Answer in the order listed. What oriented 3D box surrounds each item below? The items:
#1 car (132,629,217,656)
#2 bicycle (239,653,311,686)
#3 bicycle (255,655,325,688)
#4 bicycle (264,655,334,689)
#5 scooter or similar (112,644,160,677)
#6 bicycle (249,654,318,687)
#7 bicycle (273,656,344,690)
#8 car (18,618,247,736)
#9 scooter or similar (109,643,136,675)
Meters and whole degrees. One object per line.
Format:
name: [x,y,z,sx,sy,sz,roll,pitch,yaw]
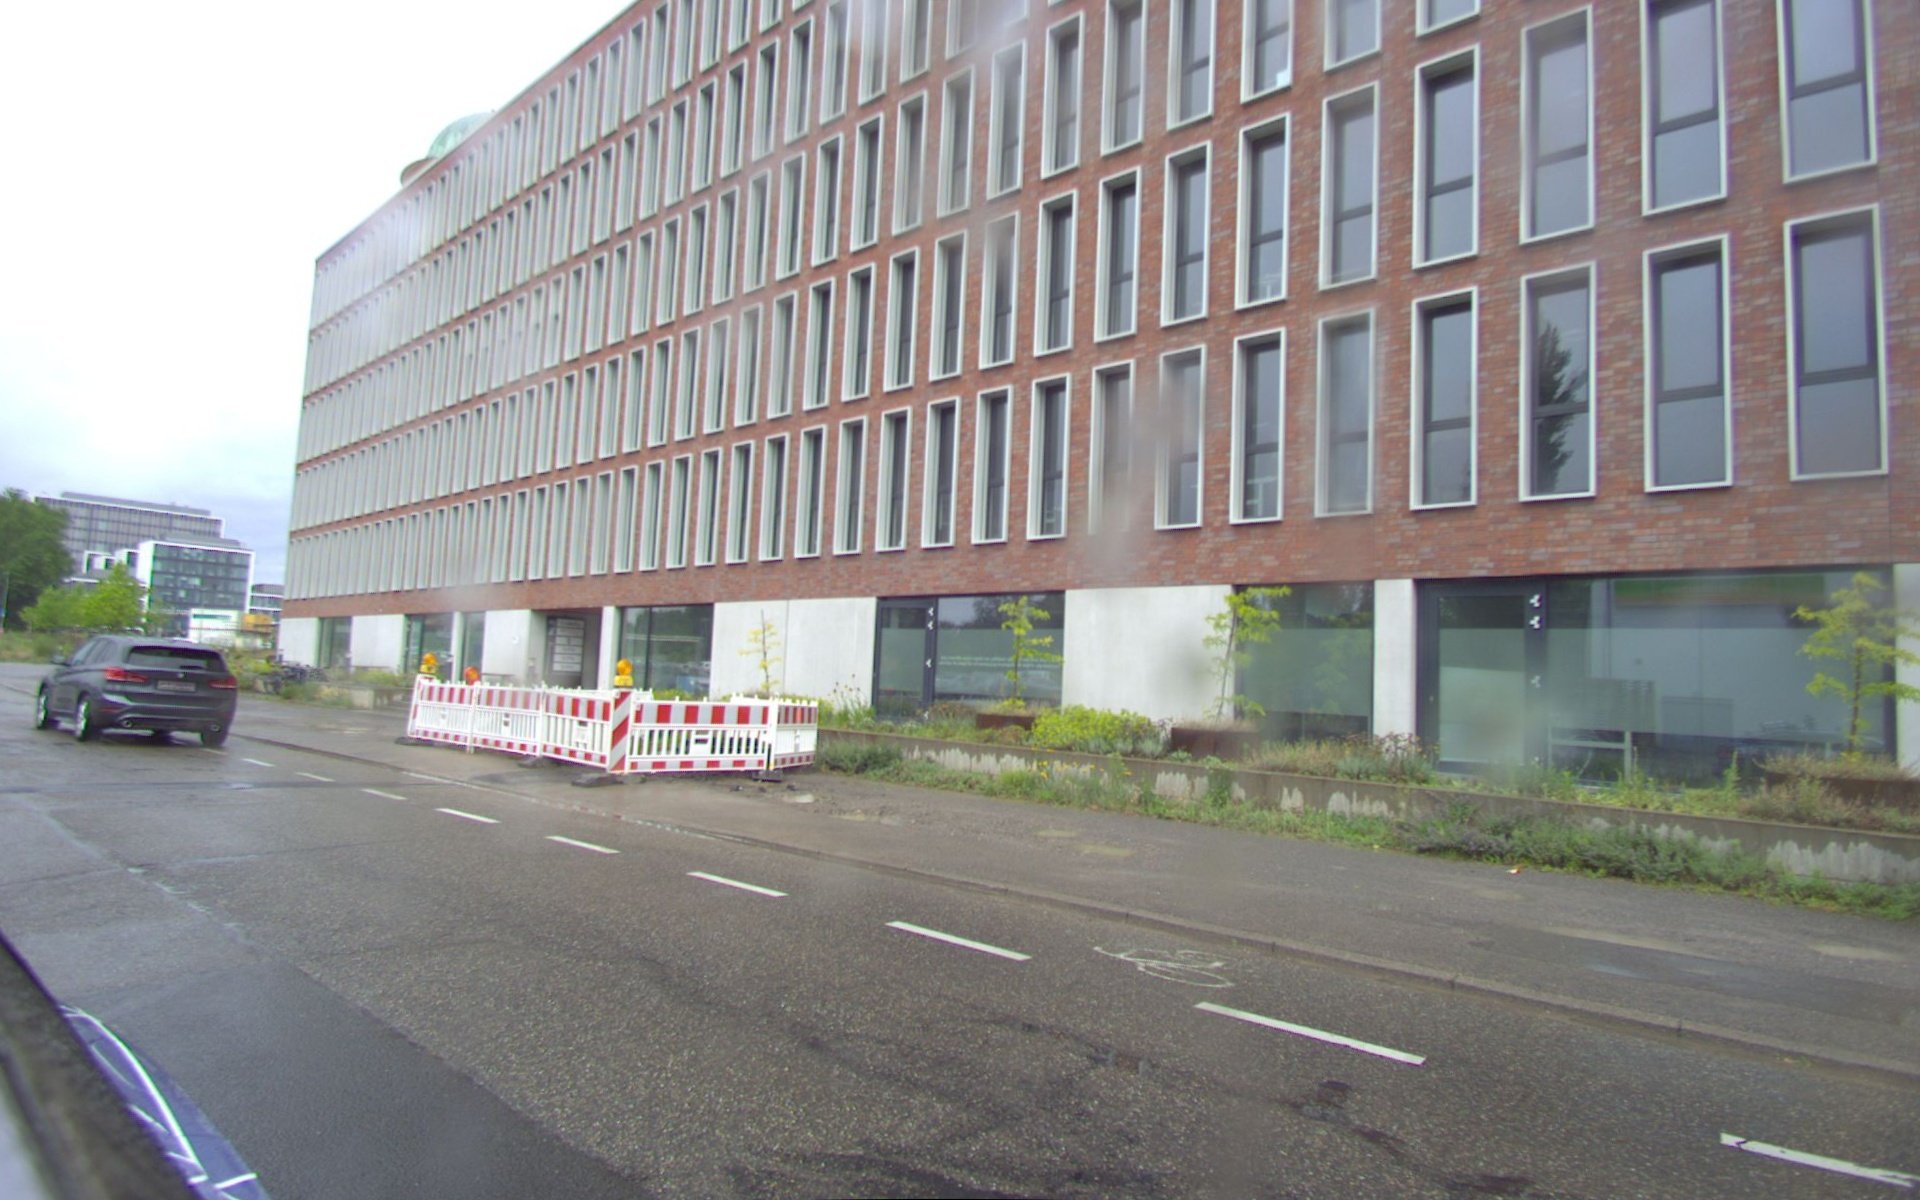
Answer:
car: [-57.416,3.107,74.033,1.997,1.653,4.480,0,-5,37]
bicycle: [-23.880,2.433,35.317,0.620,1.085,1.929,0,-4,38]
bicycle: [-22.756,2.428,34.402,0.544,1.085,1.841,0,-4,38]
bicycle: [-22.084,2.424,33.853,0.544,1.085,1.841,0,-4,38]
scooter or similar: [-32.832,2.421,40.334,1.298,1.239,0.469,5,-6,-21]
bicycle: [-23.235,2.441,34.802,0.544,1.085,1.841,0,-4,38]
bicycle: [-21.442,2.403,33.347,0.544,1.085,1.841,0,-4,38]
car: [-13.056,1.170,15.891,4.143,1.580,1.743,-1,-8,38]
scooter or similar: [-34.786,2.444,42.020,1.318,1.239,0.461,-1,-6,37]
